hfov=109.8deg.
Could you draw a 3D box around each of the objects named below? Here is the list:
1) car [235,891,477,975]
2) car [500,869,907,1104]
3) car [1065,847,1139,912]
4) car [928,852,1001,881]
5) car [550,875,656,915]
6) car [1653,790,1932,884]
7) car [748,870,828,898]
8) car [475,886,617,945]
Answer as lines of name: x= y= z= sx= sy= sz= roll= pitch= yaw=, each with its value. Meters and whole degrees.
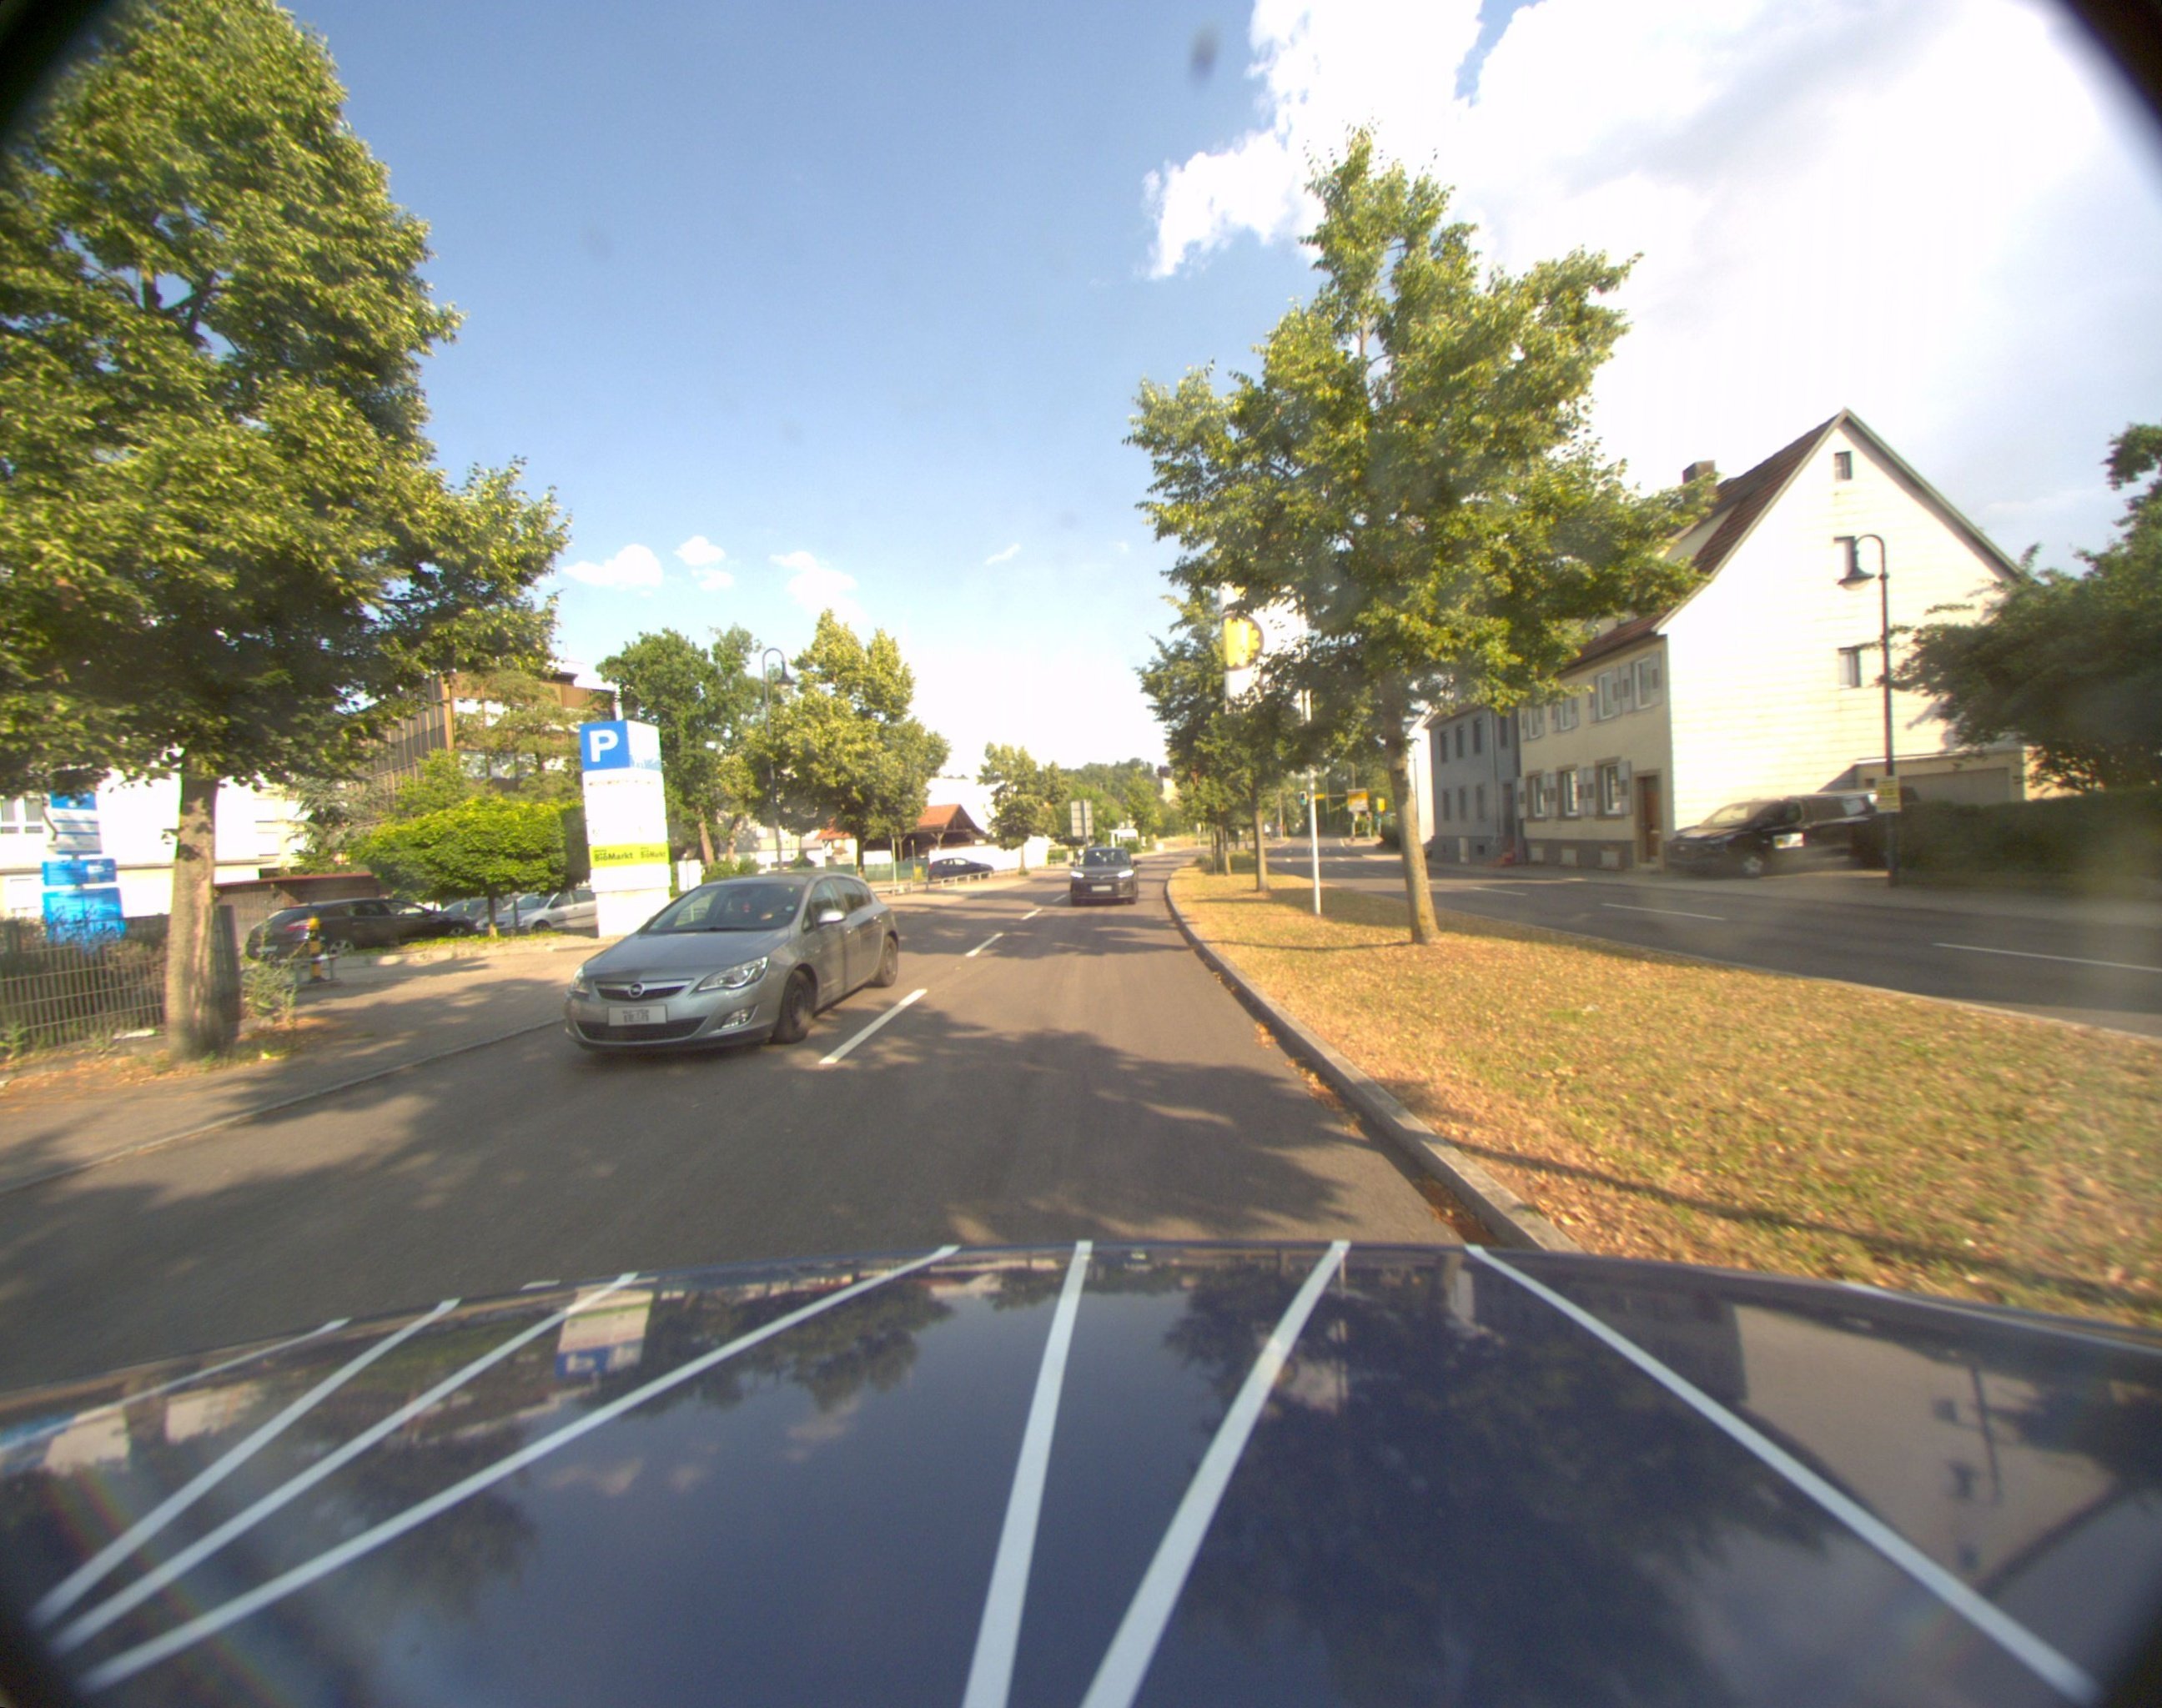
car: x=-16.963 y=1.788 z=18.073 sx=1.656 sy=1.454 sz=3.868 roll=-4 pitch=0 yaw=10
car: x=-3.165 y=0.982 z=7.533 sx=1.725 sy=1.481 sz=4.306 roll=-3 pitch=1 yaw=2
car: x=0.698 y=0.646 z=21.651 sx=1.724 sy=1.605 sz=4.262 roll=-2 pitch=1 yaw=6
car: x=-6.989 y=0.747 z=45.668 sx=3.833 sy=1.412 sz=1.939 roll=-4 pitch=1 yaw=9
car: x=-23.416 y=2.006 z=37.295 sx=4.078 sy=1.645 sz=1.939 roll=-4 pitch=1 yaw=12
car: x=17.873 y=-0.412 z=19.338 sx=4.834 sy=1.866 sz=2.001 roll=-5 pitch=1 yaw=8
car: x=-17.804 y=1.819 z=46.218 sx=3.994 sy=1.412 sz=1.939 roll=-4 pitch=1 yaw=9
car: x=-15.981 y=1.797 z=22.911 sx=1.614 sy=1.391 sz=3.268 roll=-4 pitch=1 yaw=8
